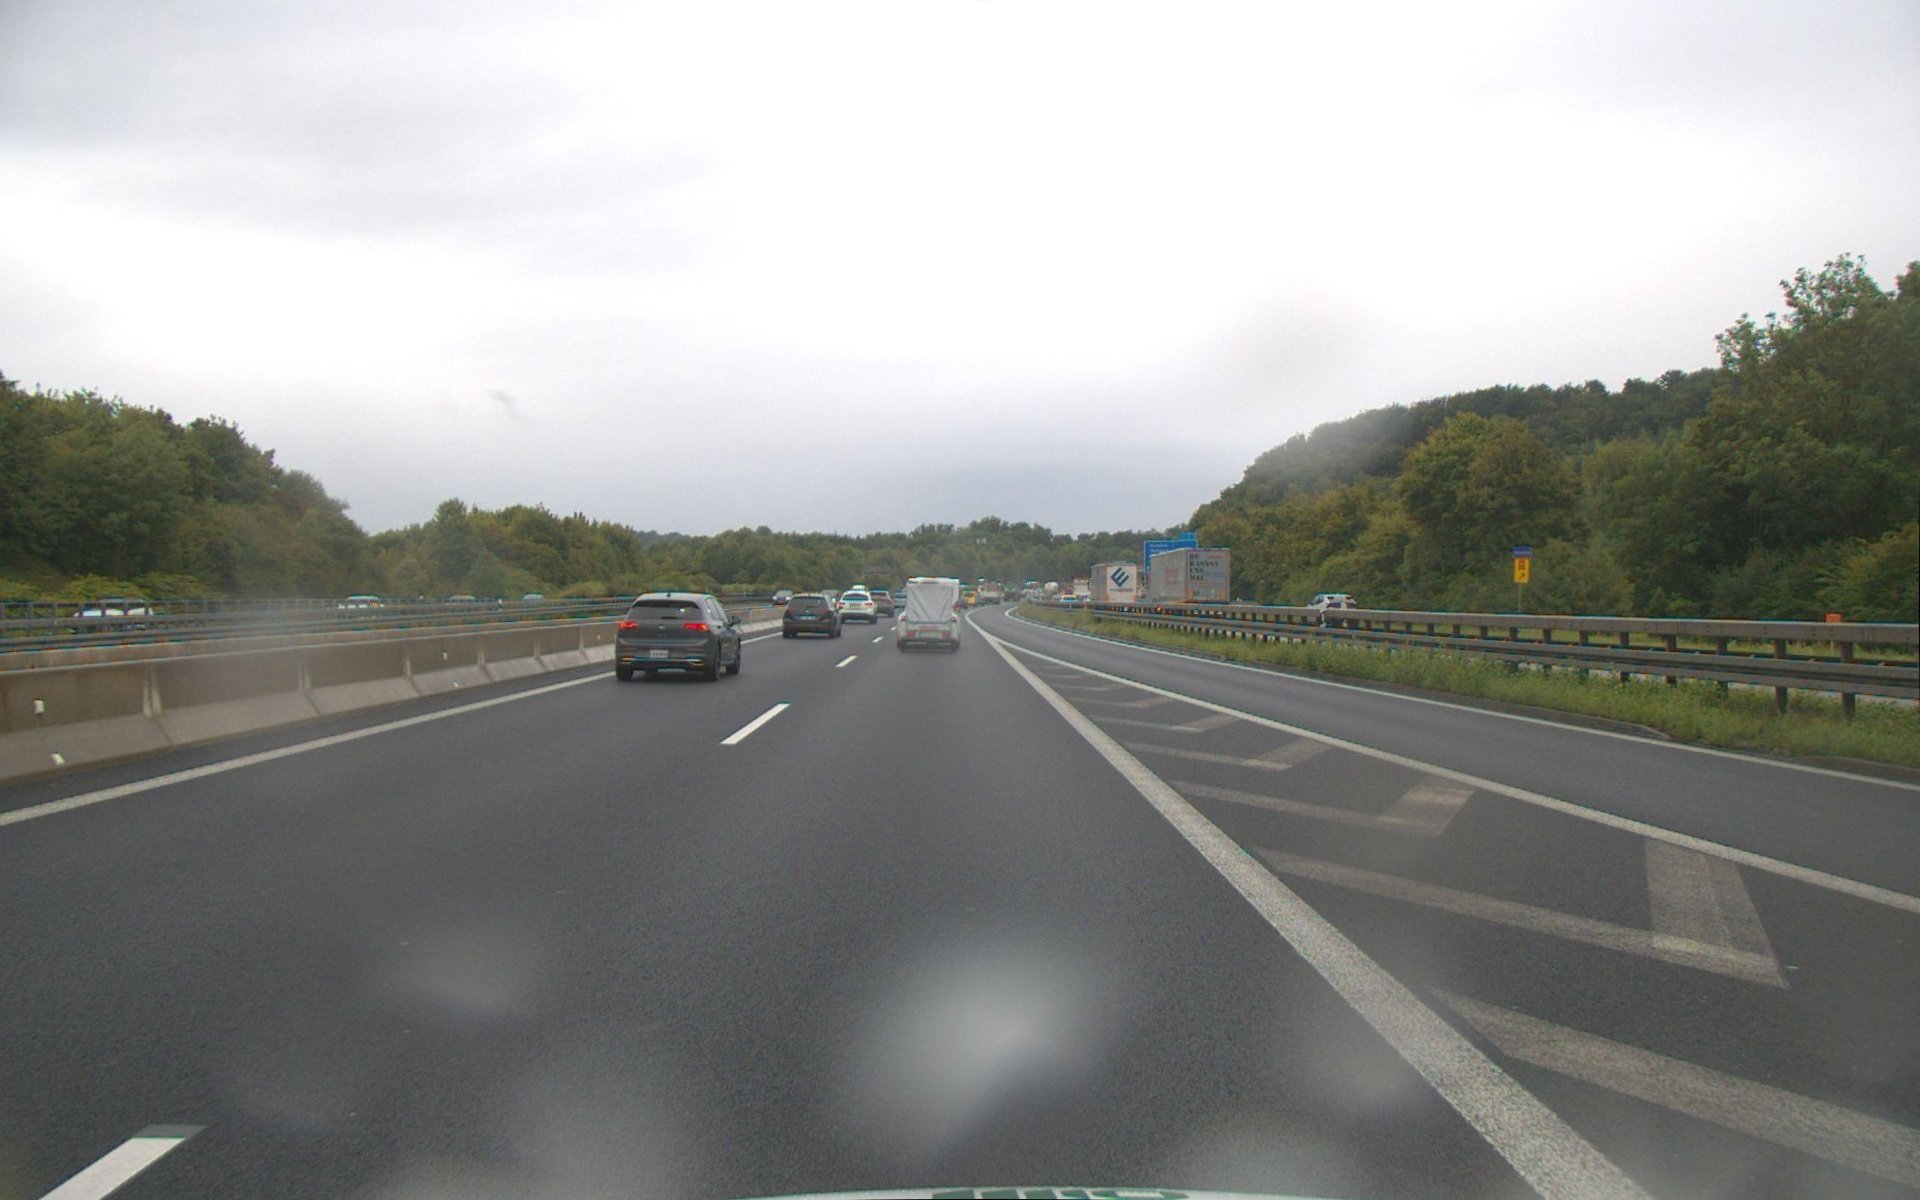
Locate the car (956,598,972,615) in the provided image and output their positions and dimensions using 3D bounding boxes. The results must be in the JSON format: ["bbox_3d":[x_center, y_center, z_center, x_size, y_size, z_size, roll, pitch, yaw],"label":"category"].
[{"bbox_3d":[0.416,0.764,185.564,1.641,1.844,4.001,1,0,1],"label":"car"}]

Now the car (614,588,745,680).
[{"bbox_3d":[-4.859,0.561,29.076,1.641,1.481,3.999,1,0,-1],"label":"car"}]

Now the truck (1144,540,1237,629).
[{"bbox_3d":[13.284,-0.826,96.587,3.151,4.748,13.027,1,0,-2],"label":"truck"}]

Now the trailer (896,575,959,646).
[{"bbox_3d":[-0.858,0.287,45.605,1.641,1.844,4.000,1,0,0],"label":"trailer"}]

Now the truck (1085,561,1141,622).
[{"bbox_3d":[12.616,-0.635,137.593,3.150,4.748,13.030,1,0,-1],"label":"truck"}]

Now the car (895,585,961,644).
[{"bbox_3d":[-0.893,0.421,49.088,1.781,1.644,4.778,1,0,1],"label":"car"}]

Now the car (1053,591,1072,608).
[{"bbox_3d":[9.414,-0.052,152.462,1.641,1.481,4.001,1,0,2],"label":"car"}]

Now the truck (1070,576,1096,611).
[{"bbox_3d":[17.691,-0.885,238.633,3.586,4.748,13.039,1,0,4],"label":"truck"}]

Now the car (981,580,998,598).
[{"bbox_3d":[4.506,-1.617,251.100,2.463,2.620,5.313,1,0,1],"label":"car"}]

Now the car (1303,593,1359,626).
[{"bbox_3d":[17.629,0.451,78.786,1.642,1.481,3.998,1,0,-2],"label":"car"}]

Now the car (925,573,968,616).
[{"bbox_3d":[-0.816,-0.329,105.029,2.455,2.630,5.700,1,0,1],"label":"car"}]

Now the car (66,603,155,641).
[{"bbox_3d":[-35.363,0.890,68.936,1.641,1.481,3.999,1,0,-1],"label":"car"}]

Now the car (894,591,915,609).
[{"bbox_3d":[-5.253,0.017,156.599,1.739,1.669,4.043,1,0,0],"label":"car"}]

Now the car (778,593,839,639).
[{"bbox_3d":[-5.106,0.528,56.265,1.729,1.481,3.999,1,0,-1],"label":"car"}]

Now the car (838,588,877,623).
[{"bbox_3d":[-5.147,0.279,83.613,1.739,1.669,4.042,1,0,-1],"label":"car"}]

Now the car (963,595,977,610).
[{"bbox_3d":[1.289,0.342,213.499,1.641,1.844,4.001,1,0,1],"label":"car"}]

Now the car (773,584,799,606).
[{"bbox_3d":[-16.549,-0.484,157.760,1.953,2.049,4.981,1,0,-1],"label":"car"}]

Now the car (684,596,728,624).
[{"bbox_3d":[-13.635,0.532,88.976,1.720,1.481,4.417,1,0,-1],"label":"car"}]

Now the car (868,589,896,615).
[{"bbox_3d":[-5.179,0.135,110.134,1.739,1.669,4.042,1,0,-1],"label":"car"}]

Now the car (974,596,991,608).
[{"bbox_3d":[3.089,0.272,226.787,1.994,1.712,4.002,1,0,5],"label":"car"}]
